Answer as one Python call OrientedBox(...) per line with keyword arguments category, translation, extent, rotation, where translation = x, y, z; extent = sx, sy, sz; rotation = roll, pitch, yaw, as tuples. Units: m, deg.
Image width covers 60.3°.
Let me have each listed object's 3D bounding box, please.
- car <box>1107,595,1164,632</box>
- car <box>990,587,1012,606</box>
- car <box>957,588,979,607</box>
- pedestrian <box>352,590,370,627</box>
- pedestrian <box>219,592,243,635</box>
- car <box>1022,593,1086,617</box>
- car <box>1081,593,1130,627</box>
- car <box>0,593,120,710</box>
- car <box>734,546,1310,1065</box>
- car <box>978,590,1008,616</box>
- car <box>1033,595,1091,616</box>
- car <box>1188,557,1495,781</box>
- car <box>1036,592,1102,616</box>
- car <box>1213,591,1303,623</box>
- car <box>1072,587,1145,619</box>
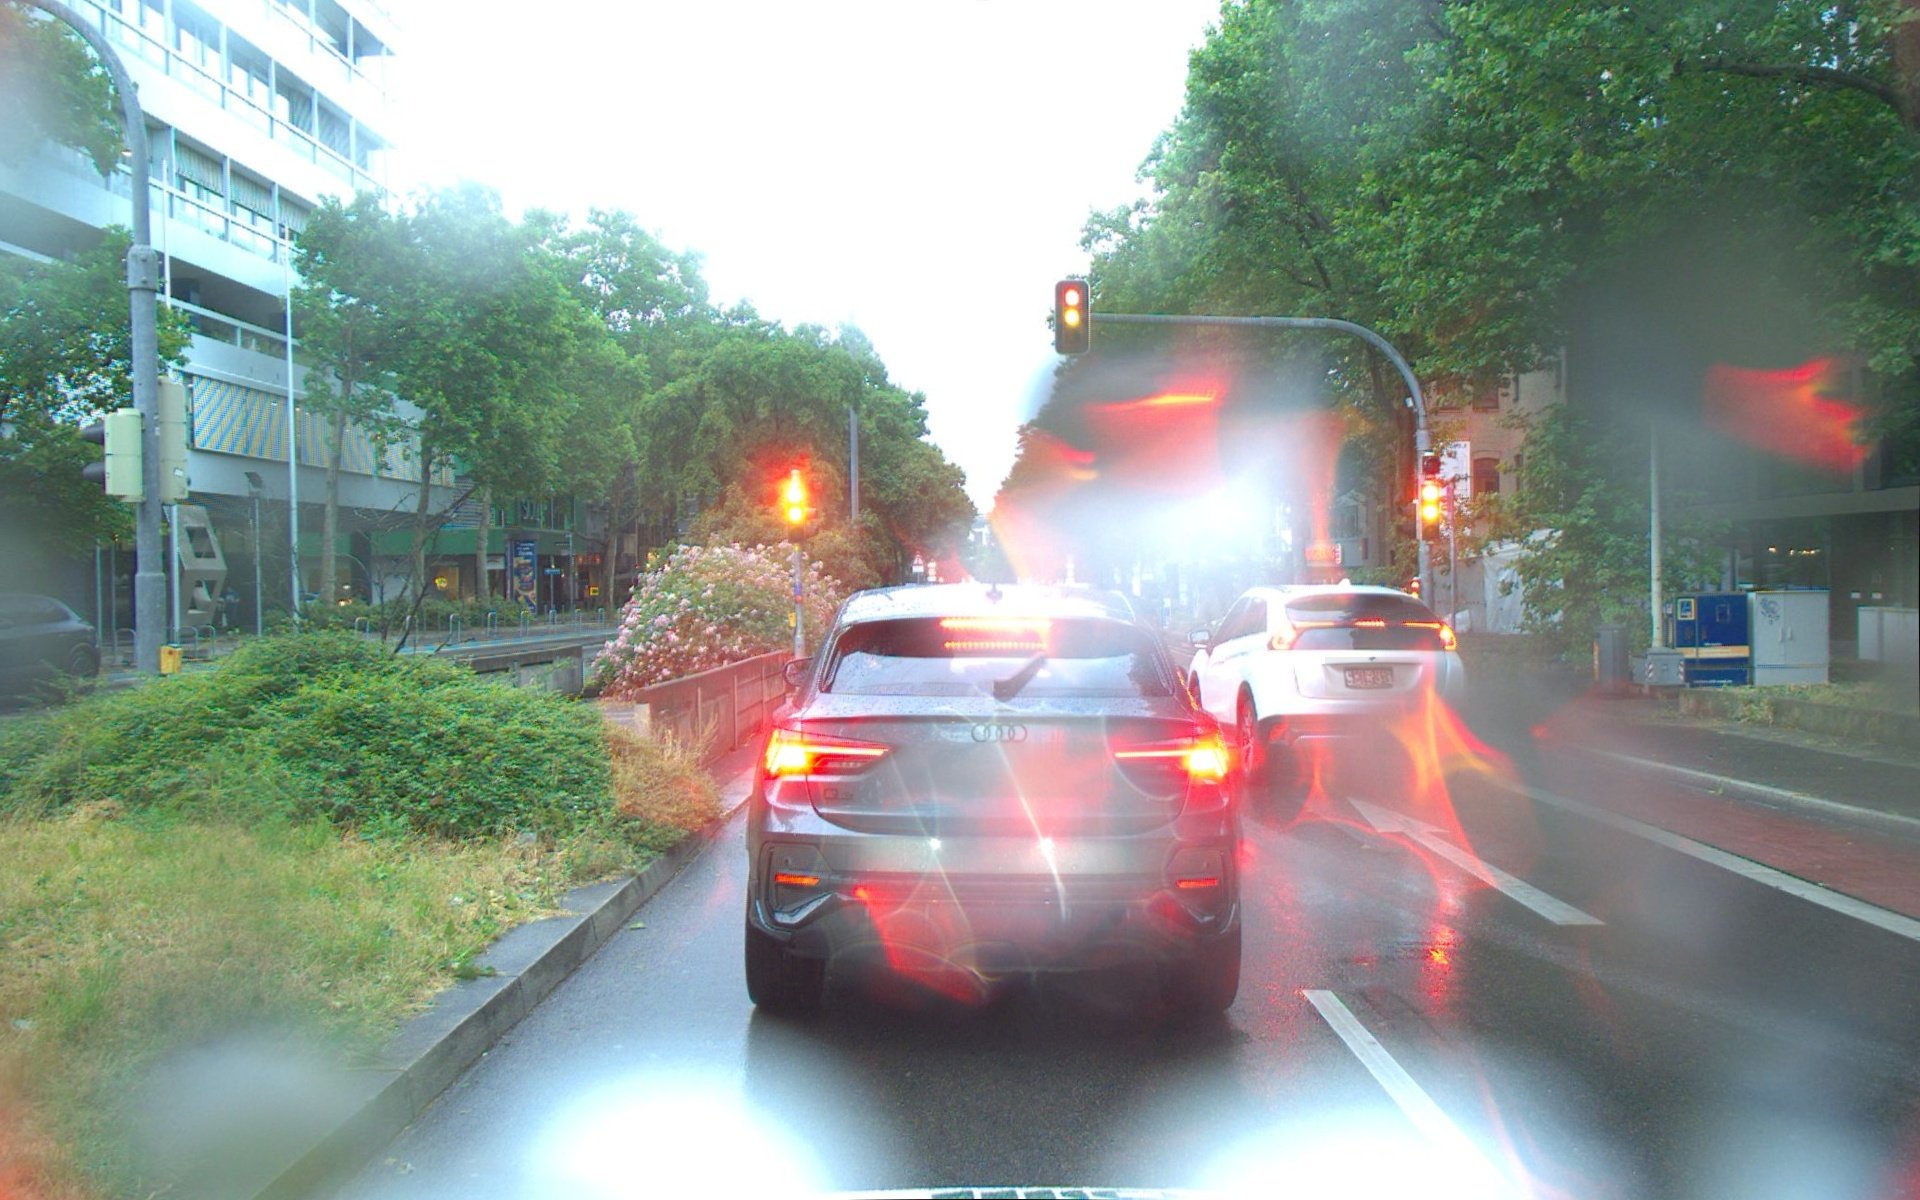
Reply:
OrientedBox(category="car", translation=(7.236, 0.557, 68.607), extent=(1.835, 1.446, 4.611), rotation=(1, 0, 0))
OrientedBox(category="car", translation=(3.714, -0.287, 151.016), extent=(1.952, 1.680, 4.000), rotation=(1, -1, 0))
OrientedBox(category="car", translation=(0.724, -0.230, 147.610), extent=(1.857, 1.627, 3.938), rotation=(1, 0, -1))
OrientedBox(category="pedestrian", translation=(-24.498, 0.350, 67.656), extent=(0.599, 1.508, 0.573), rotation=(1, -1, -12))
OrientedBox(category="pedestrian", translation=(-24.428, 0.450, 55.413), extent=(0.626, 1.404, 0.473), rotation=(1, -1, -12))
OrientedBox(category="car", translation=(7.270, 0.388, 127.874), extent=(4.549, 1.736, 1.997), rotation=(1, -1, 28))
OrientedBox(category="car", translation=(6.941, 0.482, 79.257), extent=(1.693, 1.599, 4.070), rotation=(1, 0, -4))
OrientedBox(category="car", translation=(-14.056, 0.692, 23.167), extent=(1.869, 1.612, 4.748), rotation=(1, 0, 4))
OrientedBox(category="car", translation=(0.169, 0.647, 7.216), extent=(1.812, 1.630, 3.999), rotation=(0, 0, -1))
OrientedBox(category="car", translation=(2.277, 0.209, 114.850), extent=(1.953, 1.757, 3.999), rotation=(1, -1, -1))
OrientedBox(category="car", translation=(8.684, 0.452, 140.706), extent=(4.549, 1.736, 1.997), rotation=(1, -1, 28))
OrientedBox(category="car", translation=(3.271, 0.557, 14.976), extent=(1.839, 1.727, 4.000), rotation=(1, -1, 0))
OrientedBox(category="car", translation=(8.132, 0.278, 123.400), extent=(4.549, 1.736, 1.997), rotation=(1, -1, 28))
OrientedBox(category="car", translation=(10.542, 0.253, 58.544), extent=(2.831, 1.093, 1.452), rotation=(1, -1, 31))
OrientedBox(category="car", translation=(9.793, 0.198, 109.197), extent=(4.519, 2.049, 1.959), rotation=(1, -1, 39))
